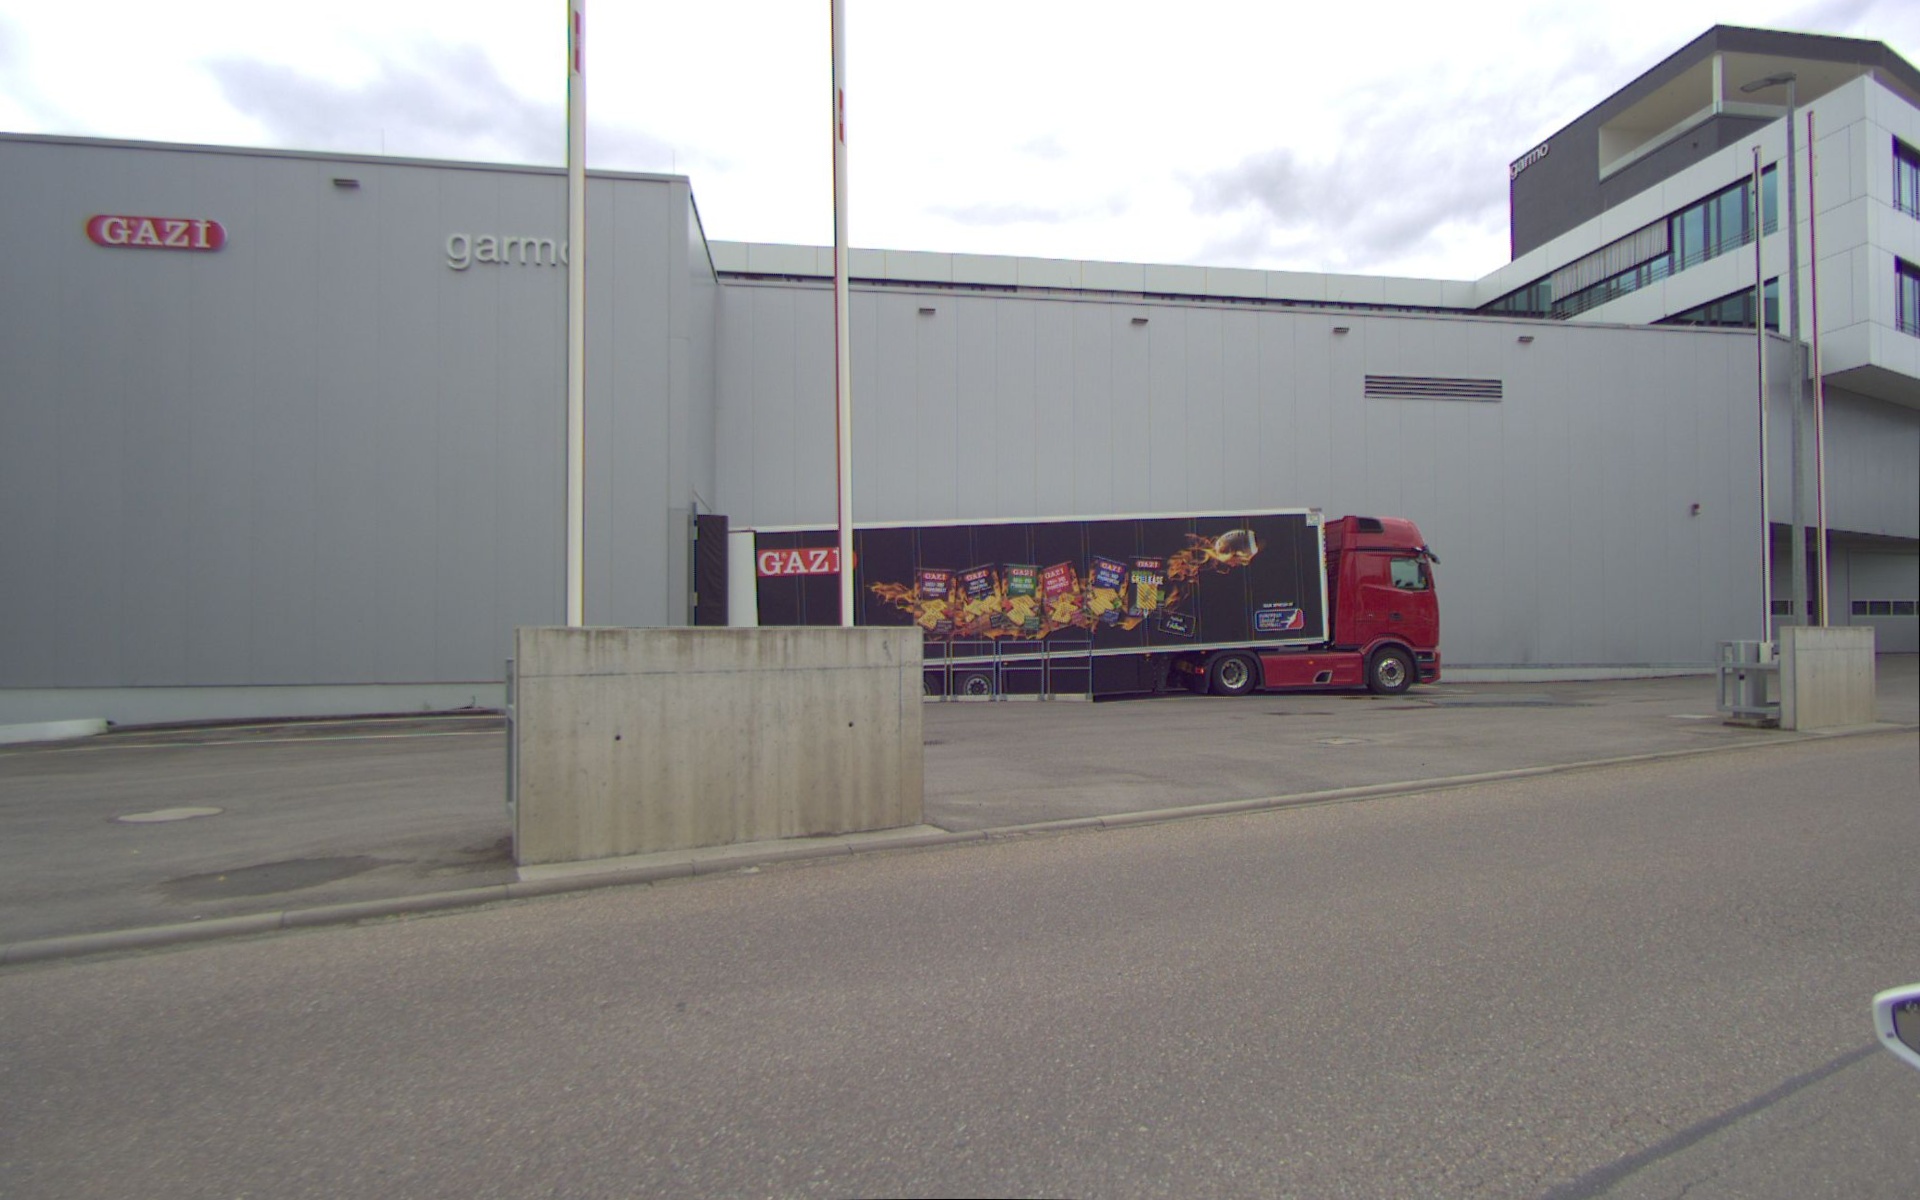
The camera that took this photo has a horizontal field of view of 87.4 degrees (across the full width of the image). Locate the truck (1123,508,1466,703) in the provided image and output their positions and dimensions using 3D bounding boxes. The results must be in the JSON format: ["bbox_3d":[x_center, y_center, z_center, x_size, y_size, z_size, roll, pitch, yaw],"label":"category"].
[{"bbox_3d":[7.496,0.148,22.948,6.963,4.084,2.747,0,-1,-9],"label":"truck"}]

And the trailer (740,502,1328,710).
[{"bbox_3d":[1.605,0.135,22.020,12.387,4.084,2.747,0,-1,-9],"label":"trailer"}]
